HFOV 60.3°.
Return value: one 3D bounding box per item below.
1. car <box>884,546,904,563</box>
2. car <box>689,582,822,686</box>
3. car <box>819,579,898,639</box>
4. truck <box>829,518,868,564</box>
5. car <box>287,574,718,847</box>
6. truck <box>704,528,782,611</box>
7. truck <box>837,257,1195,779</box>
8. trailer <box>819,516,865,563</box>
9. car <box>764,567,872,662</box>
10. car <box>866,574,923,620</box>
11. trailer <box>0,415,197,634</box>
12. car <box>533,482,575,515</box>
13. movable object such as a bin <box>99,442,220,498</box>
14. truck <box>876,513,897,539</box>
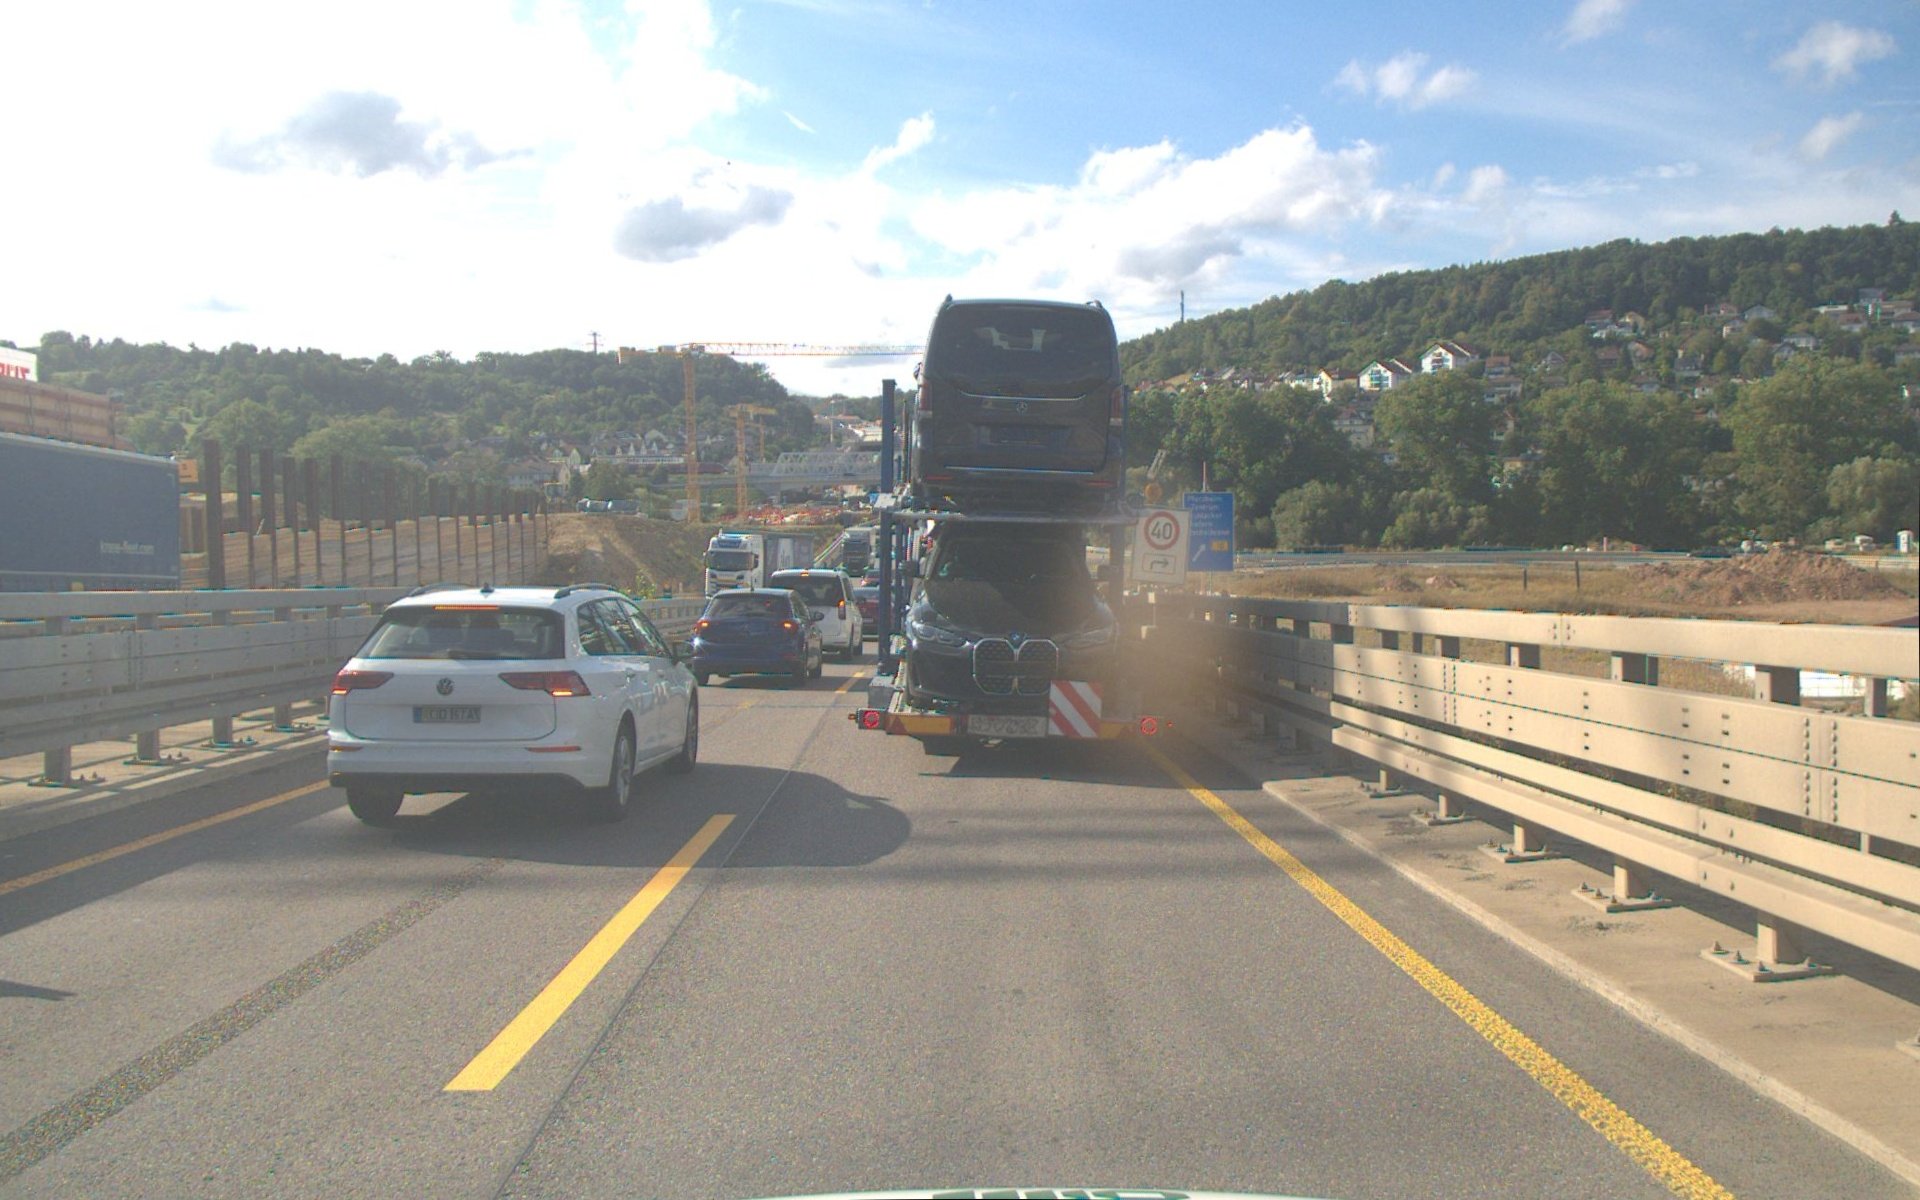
[{"bbox_3d":[-7.242,-4.994,181.771,1.954,1.757,4.118,1,0,-5],"label":"car"},{"bbox_3d":[-3.097,0.487,25.702,1.687,1.447,3.998,-1,0,-2],"label":"car"},{"bbox_3d":[-2.842,0.250,47.243,1.953,1.583,4.401,1,0,0],"label":"car"},{"bbox_3d":[-10.050,-5.306,149.036,2.727,3.854,6.002,1,0,-11],"label":"truck"},{"bbox_3d":[-2.913,0.592,11.596,1.733,1.517,4.517,-1,1,0],"label":"car"},{"bbox_3d":[-11.383,-1.556,87.253,2.654,4.210,5.974,1,0,6],"label":"truck"},{"bbox_3d":[0.324,-0.616,22.498,2.697,4.023,18.885,2,0,-1],"label":"truck"},{"bbox_3d":[-11.180,-5.589,155.270,2.770,3.908,13.768,1,0,-11],"label":"trailer"},{"bbox_3d":[-2.879,0.284,34.318,1.785,1.823,4.000,1,0,1],"label":"car"},{"bbox_3d":[-2.344,-0.113,59.792,1.953,1.579,3.998,1,0,-2],"label":"car"},{"bbox_3d":[-17.727,-1.302,28.770,2.804,3.731,13.526,1,0,-1],"label":"trailer"},{"bbox_3d":[-32.582,-8.159,132.947,1.953,2.177,5.321,-4,0,-1],"label":"car"},{"bbox_3d":[-53.033,-8.587,109.708,5.623,3.328,4.514,1,0,11],"label":"movable object such as a bin"},{"bbox_3d":[-10.618,-10.729,240.068,2.645,3.369,7.537,1,0,0],"label":"truck"}]
